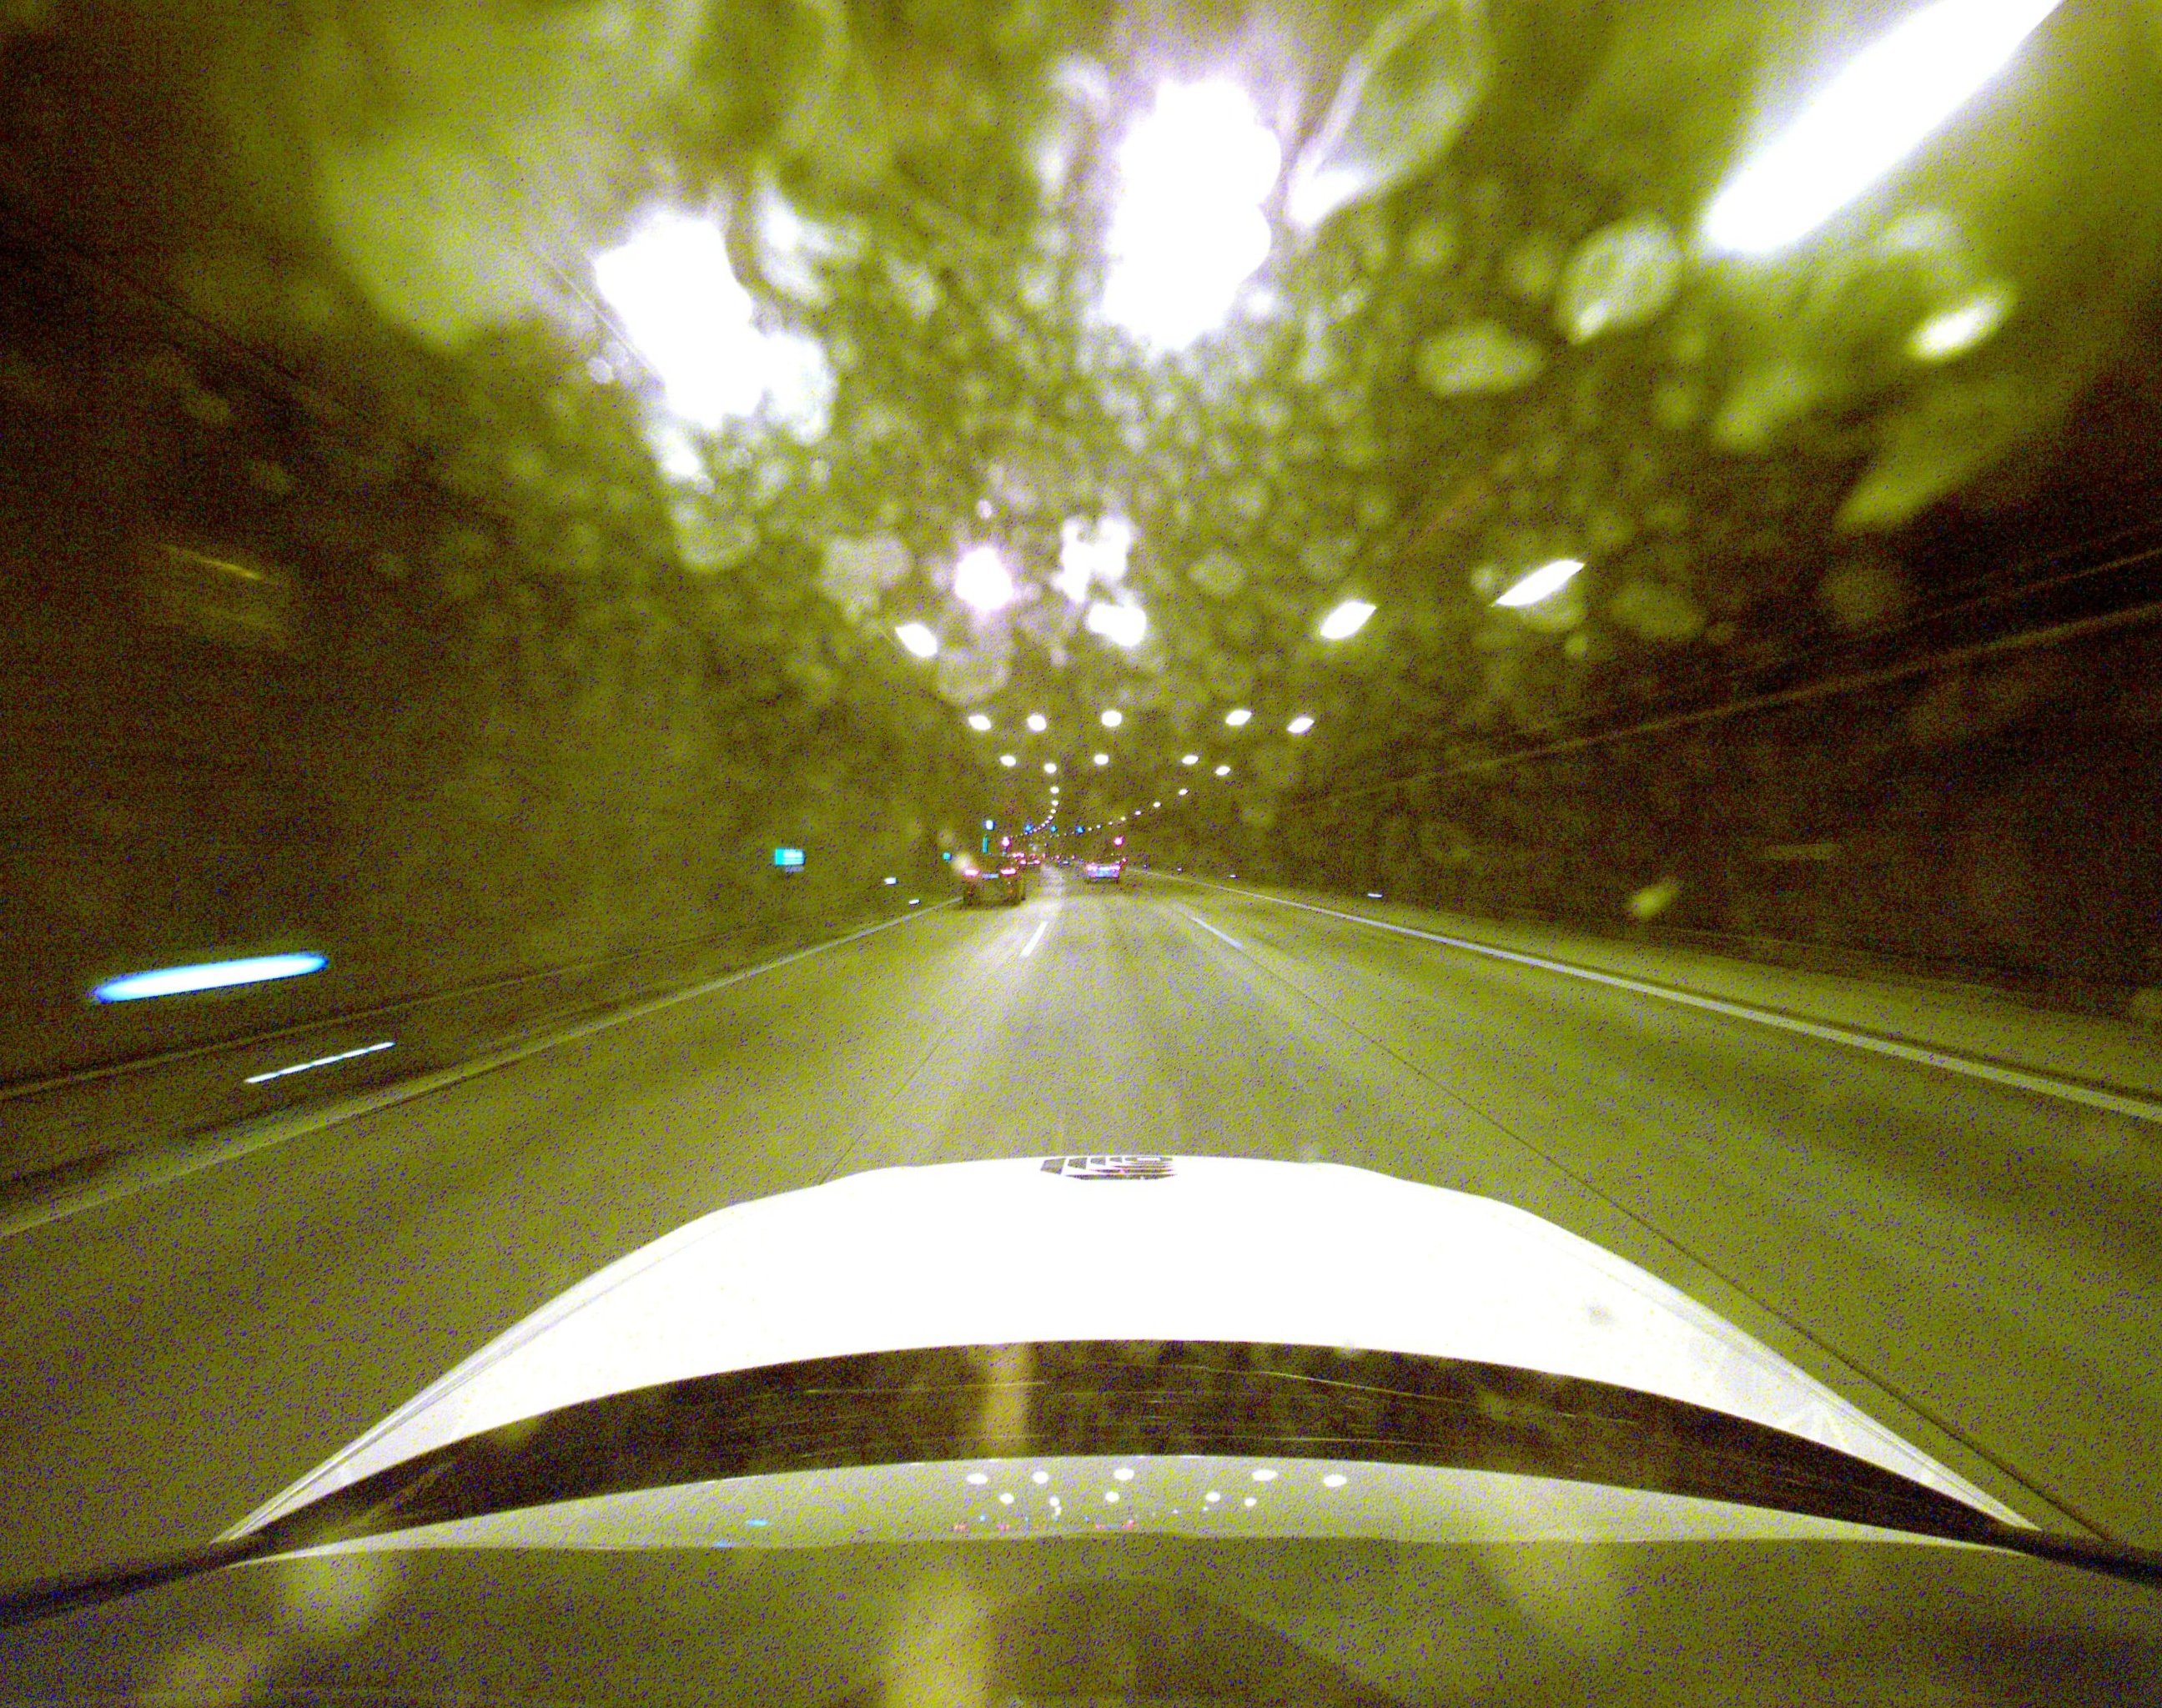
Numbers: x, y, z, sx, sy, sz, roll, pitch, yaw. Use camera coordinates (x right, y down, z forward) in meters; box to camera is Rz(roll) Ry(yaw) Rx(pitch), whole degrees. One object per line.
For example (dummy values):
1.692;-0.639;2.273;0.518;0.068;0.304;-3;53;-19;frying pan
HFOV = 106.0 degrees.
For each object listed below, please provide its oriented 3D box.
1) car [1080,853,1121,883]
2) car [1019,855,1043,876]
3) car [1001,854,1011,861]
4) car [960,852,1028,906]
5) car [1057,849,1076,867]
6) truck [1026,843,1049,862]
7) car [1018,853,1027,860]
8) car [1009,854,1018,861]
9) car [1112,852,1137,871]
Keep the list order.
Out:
1.085;0.685;42.936;1.985;1.483;4.004;0;0;3;car
-4.306;0.958;69.891;1.799;1.684;3.990;0;0;-7;car
-16.066;0.723;174.314;1.993;1.530;3.988;0;-1;-9;car
-2.736;0.744;26.430;1.780;1.598;3.800;-1;0;0;car
-1.629;0.443;90.698;1.988;1.972;3.997;-1;0;-2;car
-7.585;-0.337;140.146;3.081;3.112;10.002;0;1;-8;truck
-14.985;0.679;206.886;1.992;1.754;3.988;0;-1;-8;car
-15.786;0.801;191.270;1.991;1.754;3.992;0;-1;-6;car
3.795;0.621;71.982;1.835;1.602;3.996;0;0;-3;car
